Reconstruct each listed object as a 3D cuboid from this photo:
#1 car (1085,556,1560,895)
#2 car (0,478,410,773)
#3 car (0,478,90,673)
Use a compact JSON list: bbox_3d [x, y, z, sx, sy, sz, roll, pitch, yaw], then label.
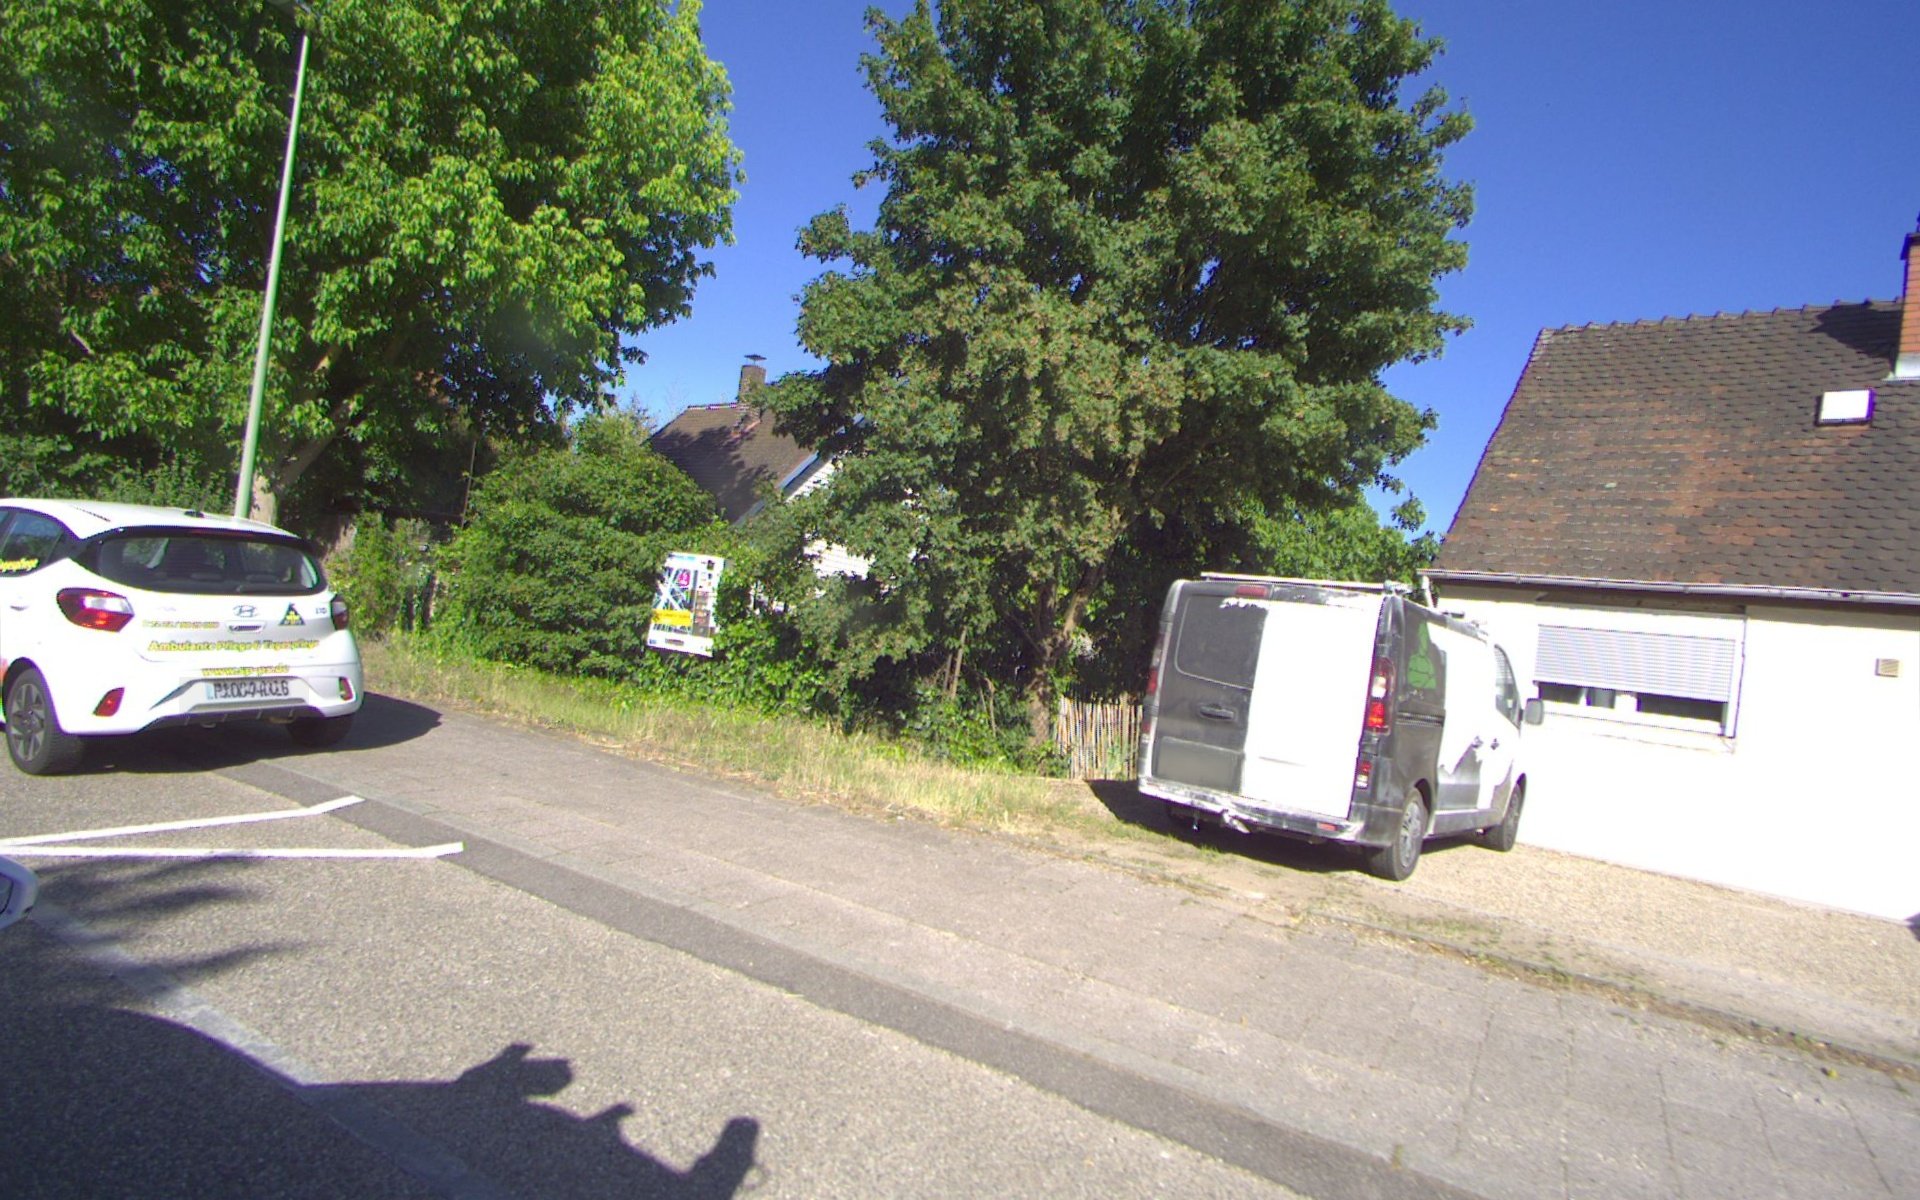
[{"bbox_3d":[3.354,0.997,8.614,2.114,2.006,4.677,6,-3,41],"label":"car"},{"bbox_3d":[-6.063,0.036,6.972,4.219,1.497,1.766,6,-2,27],"label":"car"},{"bbox_3d":[-10.100,-0.470,8.999,4.218,1.619,1.917,7,-2,27],"label":"car"}]
